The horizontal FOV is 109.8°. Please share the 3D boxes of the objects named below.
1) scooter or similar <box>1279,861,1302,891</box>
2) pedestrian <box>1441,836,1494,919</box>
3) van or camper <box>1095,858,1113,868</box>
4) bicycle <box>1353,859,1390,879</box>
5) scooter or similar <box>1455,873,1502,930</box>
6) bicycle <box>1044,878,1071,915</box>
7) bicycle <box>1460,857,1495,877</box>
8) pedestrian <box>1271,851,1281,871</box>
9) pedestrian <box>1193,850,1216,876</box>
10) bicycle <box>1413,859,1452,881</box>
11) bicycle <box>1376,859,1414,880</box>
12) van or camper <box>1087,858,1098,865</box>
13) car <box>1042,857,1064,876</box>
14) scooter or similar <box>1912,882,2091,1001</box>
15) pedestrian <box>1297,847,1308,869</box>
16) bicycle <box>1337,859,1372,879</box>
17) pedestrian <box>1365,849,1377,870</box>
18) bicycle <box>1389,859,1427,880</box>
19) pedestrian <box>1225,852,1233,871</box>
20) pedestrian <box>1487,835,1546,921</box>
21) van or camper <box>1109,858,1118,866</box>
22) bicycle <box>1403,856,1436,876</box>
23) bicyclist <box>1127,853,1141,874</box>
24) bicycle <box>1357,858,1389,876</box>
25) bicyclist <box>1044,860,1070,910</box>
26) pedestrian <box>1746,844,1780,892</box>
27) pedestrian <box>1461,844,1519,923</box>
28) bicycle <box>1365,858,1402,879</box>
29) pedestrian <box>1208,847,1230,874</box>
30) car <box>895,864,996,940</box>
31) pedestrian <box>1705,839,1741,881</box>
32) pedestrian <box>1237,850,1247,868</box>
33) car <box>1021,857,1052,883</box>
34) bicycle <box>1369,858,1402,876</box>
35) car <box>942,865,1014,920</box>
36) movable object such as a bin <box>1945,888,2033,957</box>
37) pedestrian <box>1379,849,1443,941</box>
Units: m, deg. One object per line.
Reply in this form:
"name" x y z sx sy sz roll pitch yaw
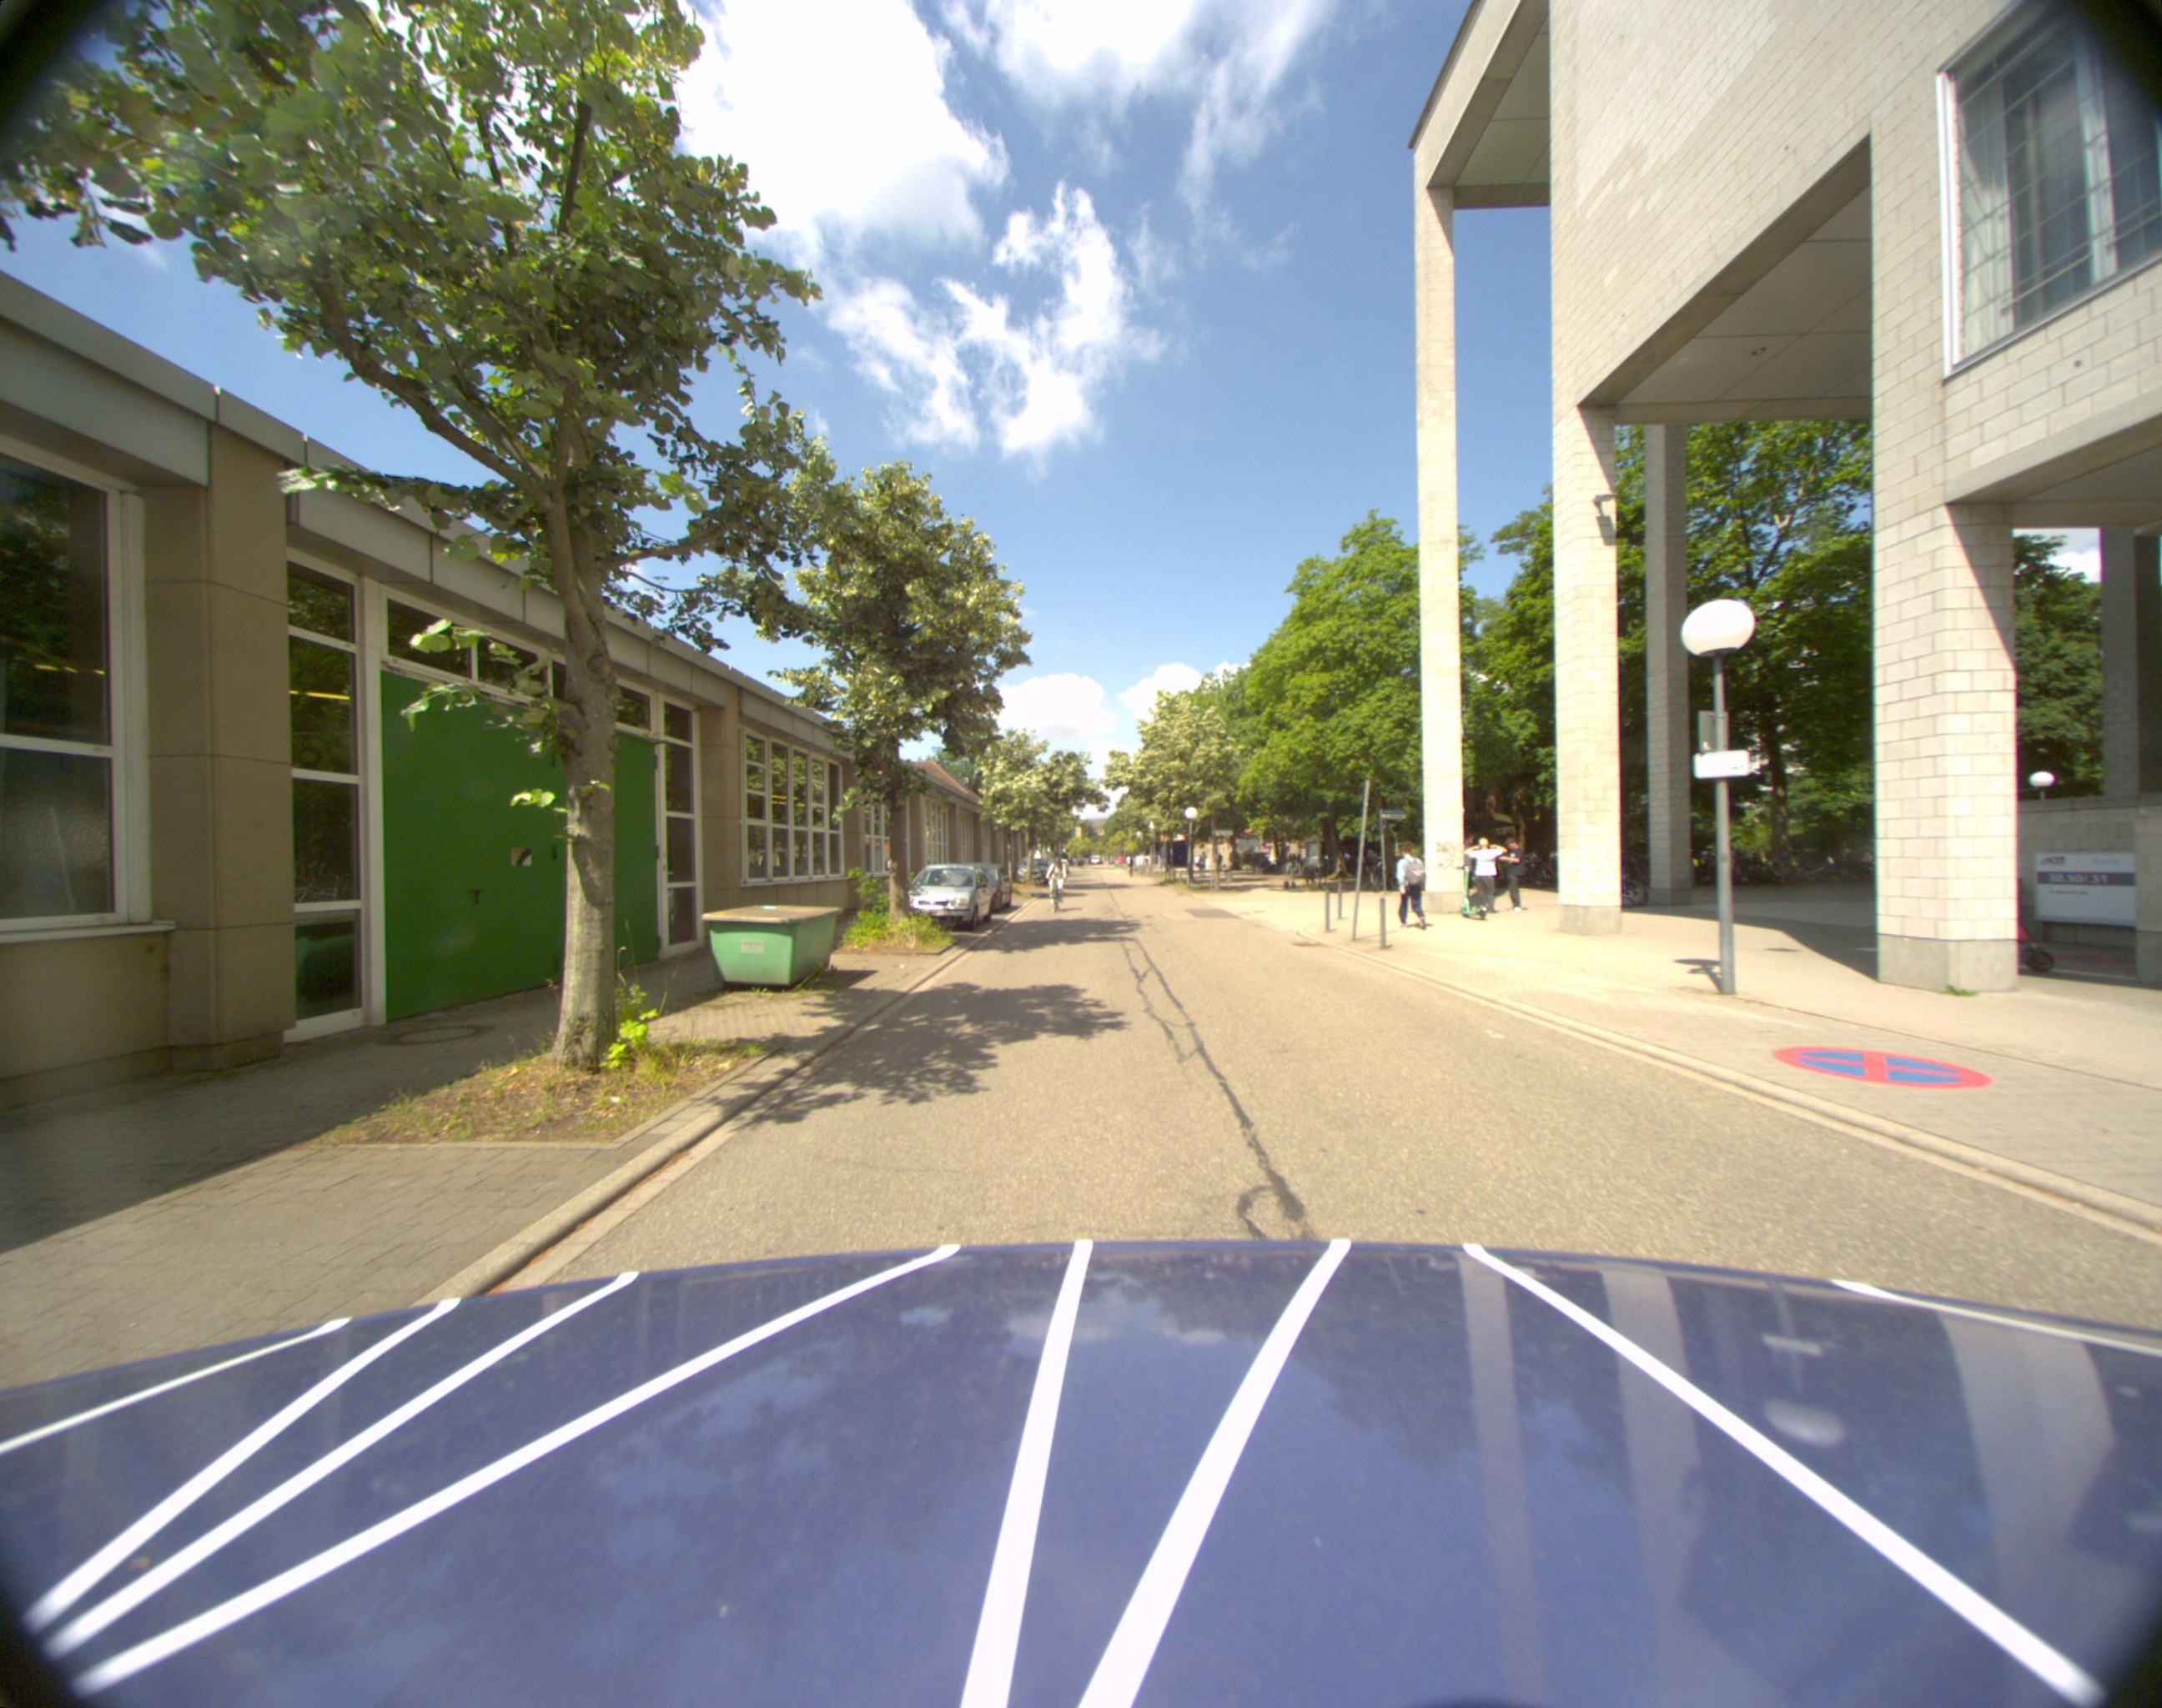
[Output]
"scooter or similar" 8.909 0.927 32.301 0.713 1.184 1.617 -1 1 23
"pedestrian" 9.659 0.574 19.019 0.755 2.002 1.081 -1 0 0
"van or camper" 5.730 2.157 189.154 4.392 2.347 1.994 0 0 -41
"bicycle" 16.831 0.856 44.033 2.127 1.100 0.751 -1 1 -29
"scooter or similar" 8.502 0.998 16.298 0.317 1.138 1.313 -1 0 1
"bicycle" -0.712 1.283 23.355 0.781 1.042 1.913 0 0 -1
"bicycle" 22.468 0.750 43.005 2.127 1.052 0.681 -1 1 -29
"pedestrian" 16.083 0.585 62.758 0.678 1.661 0.815 -1 1 6
"pedestrian" 8.773 0.653 54.122 1.400 1.813 1.369 -1 0 0
"bicycle" 18.721 0.820 40.494 2.127 1.100 0.751 -1 1 -29
"bicycle" 17.606 0.841 42.594 2.127 1.100 0.751 -1 1 -29
"van or camper" 3.471 2.178 226.222 2.092 1.963 4.264 -1 0 14
"car" -2.263 1.002 62.099 1.649 1.484 3.816 1 0 0
"scooter or similar" 10.181 0.930 8.456 1.212 1.224 0.402 -1 0 41
"pedestrian" 16.975 0.325 58.321 0.756 1.661 0.823 -1 1 15
"bicycle" 16.264 0.866 45.169 2.127 1.100 0.751 -1 1 -29
"pedestrian" 21.341 0.424 55.960 0.587 1.522 0.503 -2 1 -20
"bicycle" 18.014 0.834 41.888 2.127 1.100 0.751 -1 1 -29
"pedestrian" 13.371 0.681 68.628 0.678 1.661 0.815 -1 1 6
"pedestrian" 10.454 0.557 18.277 0.755 2.002 1.081 -1 0 0
"van or camper" 9.277 2.315 217.775 1.852 2.093 4.307 -1 0 11
"bicycle" 20.575 0.720 46.164 2.127 1.185 0.681 -2 1 -29
"bicyclist" 4.317 0.798 62.278 1.053 1.690 1.282 -1 1 1
"bicycle" 18.691 0.809 48.608 2.127 1.052 0.681 -1 1 -29
"bicyclist" -0.719 0.940 23.324 0.781 1.478 0.695 0 0 -1
"pedestrian" 35.043 0.686 39.047 1.004 2.405 1.003 -2 1 -25
"pedestrian" 9.522 0.670 17.724 0.755 1.770 1.081 -1 0 0
"bicycle" 17.220 0.834 43.275 2.127 1.100 0.751 -1 1 -29
"pedestrian" 10.398 0.491 57.398 1.400 2.002 1.369 -1 0 0
"car" -3.022 1.013 17.638 1.622 1.503 3.817 2 0 0
"pedestrian" 31.557 0.277 37.338 1.004 2.002 1.003 -2 1 -25
"pedestrian" 16.360 0.506 77.250 0.677 1.882 0.816 -1 1 41
"car" -2.677 0.962 46.586 1.649 1.484 3.816 1 0 0
"bicycle" 19.211 0.799 47.898 2.127 1.052 0.681 -1 1 -29
"car" -3.066 1.113 23.273 1.622 1.455 3.817 2 0 0
"movable object such as a bin" 13.655 1.018 11.440 0.484 0.973 0.702 -1 0 1
"pedestrian" 6.514 0.771 15.059 0.761 1.715 1.235 -3 1 6
